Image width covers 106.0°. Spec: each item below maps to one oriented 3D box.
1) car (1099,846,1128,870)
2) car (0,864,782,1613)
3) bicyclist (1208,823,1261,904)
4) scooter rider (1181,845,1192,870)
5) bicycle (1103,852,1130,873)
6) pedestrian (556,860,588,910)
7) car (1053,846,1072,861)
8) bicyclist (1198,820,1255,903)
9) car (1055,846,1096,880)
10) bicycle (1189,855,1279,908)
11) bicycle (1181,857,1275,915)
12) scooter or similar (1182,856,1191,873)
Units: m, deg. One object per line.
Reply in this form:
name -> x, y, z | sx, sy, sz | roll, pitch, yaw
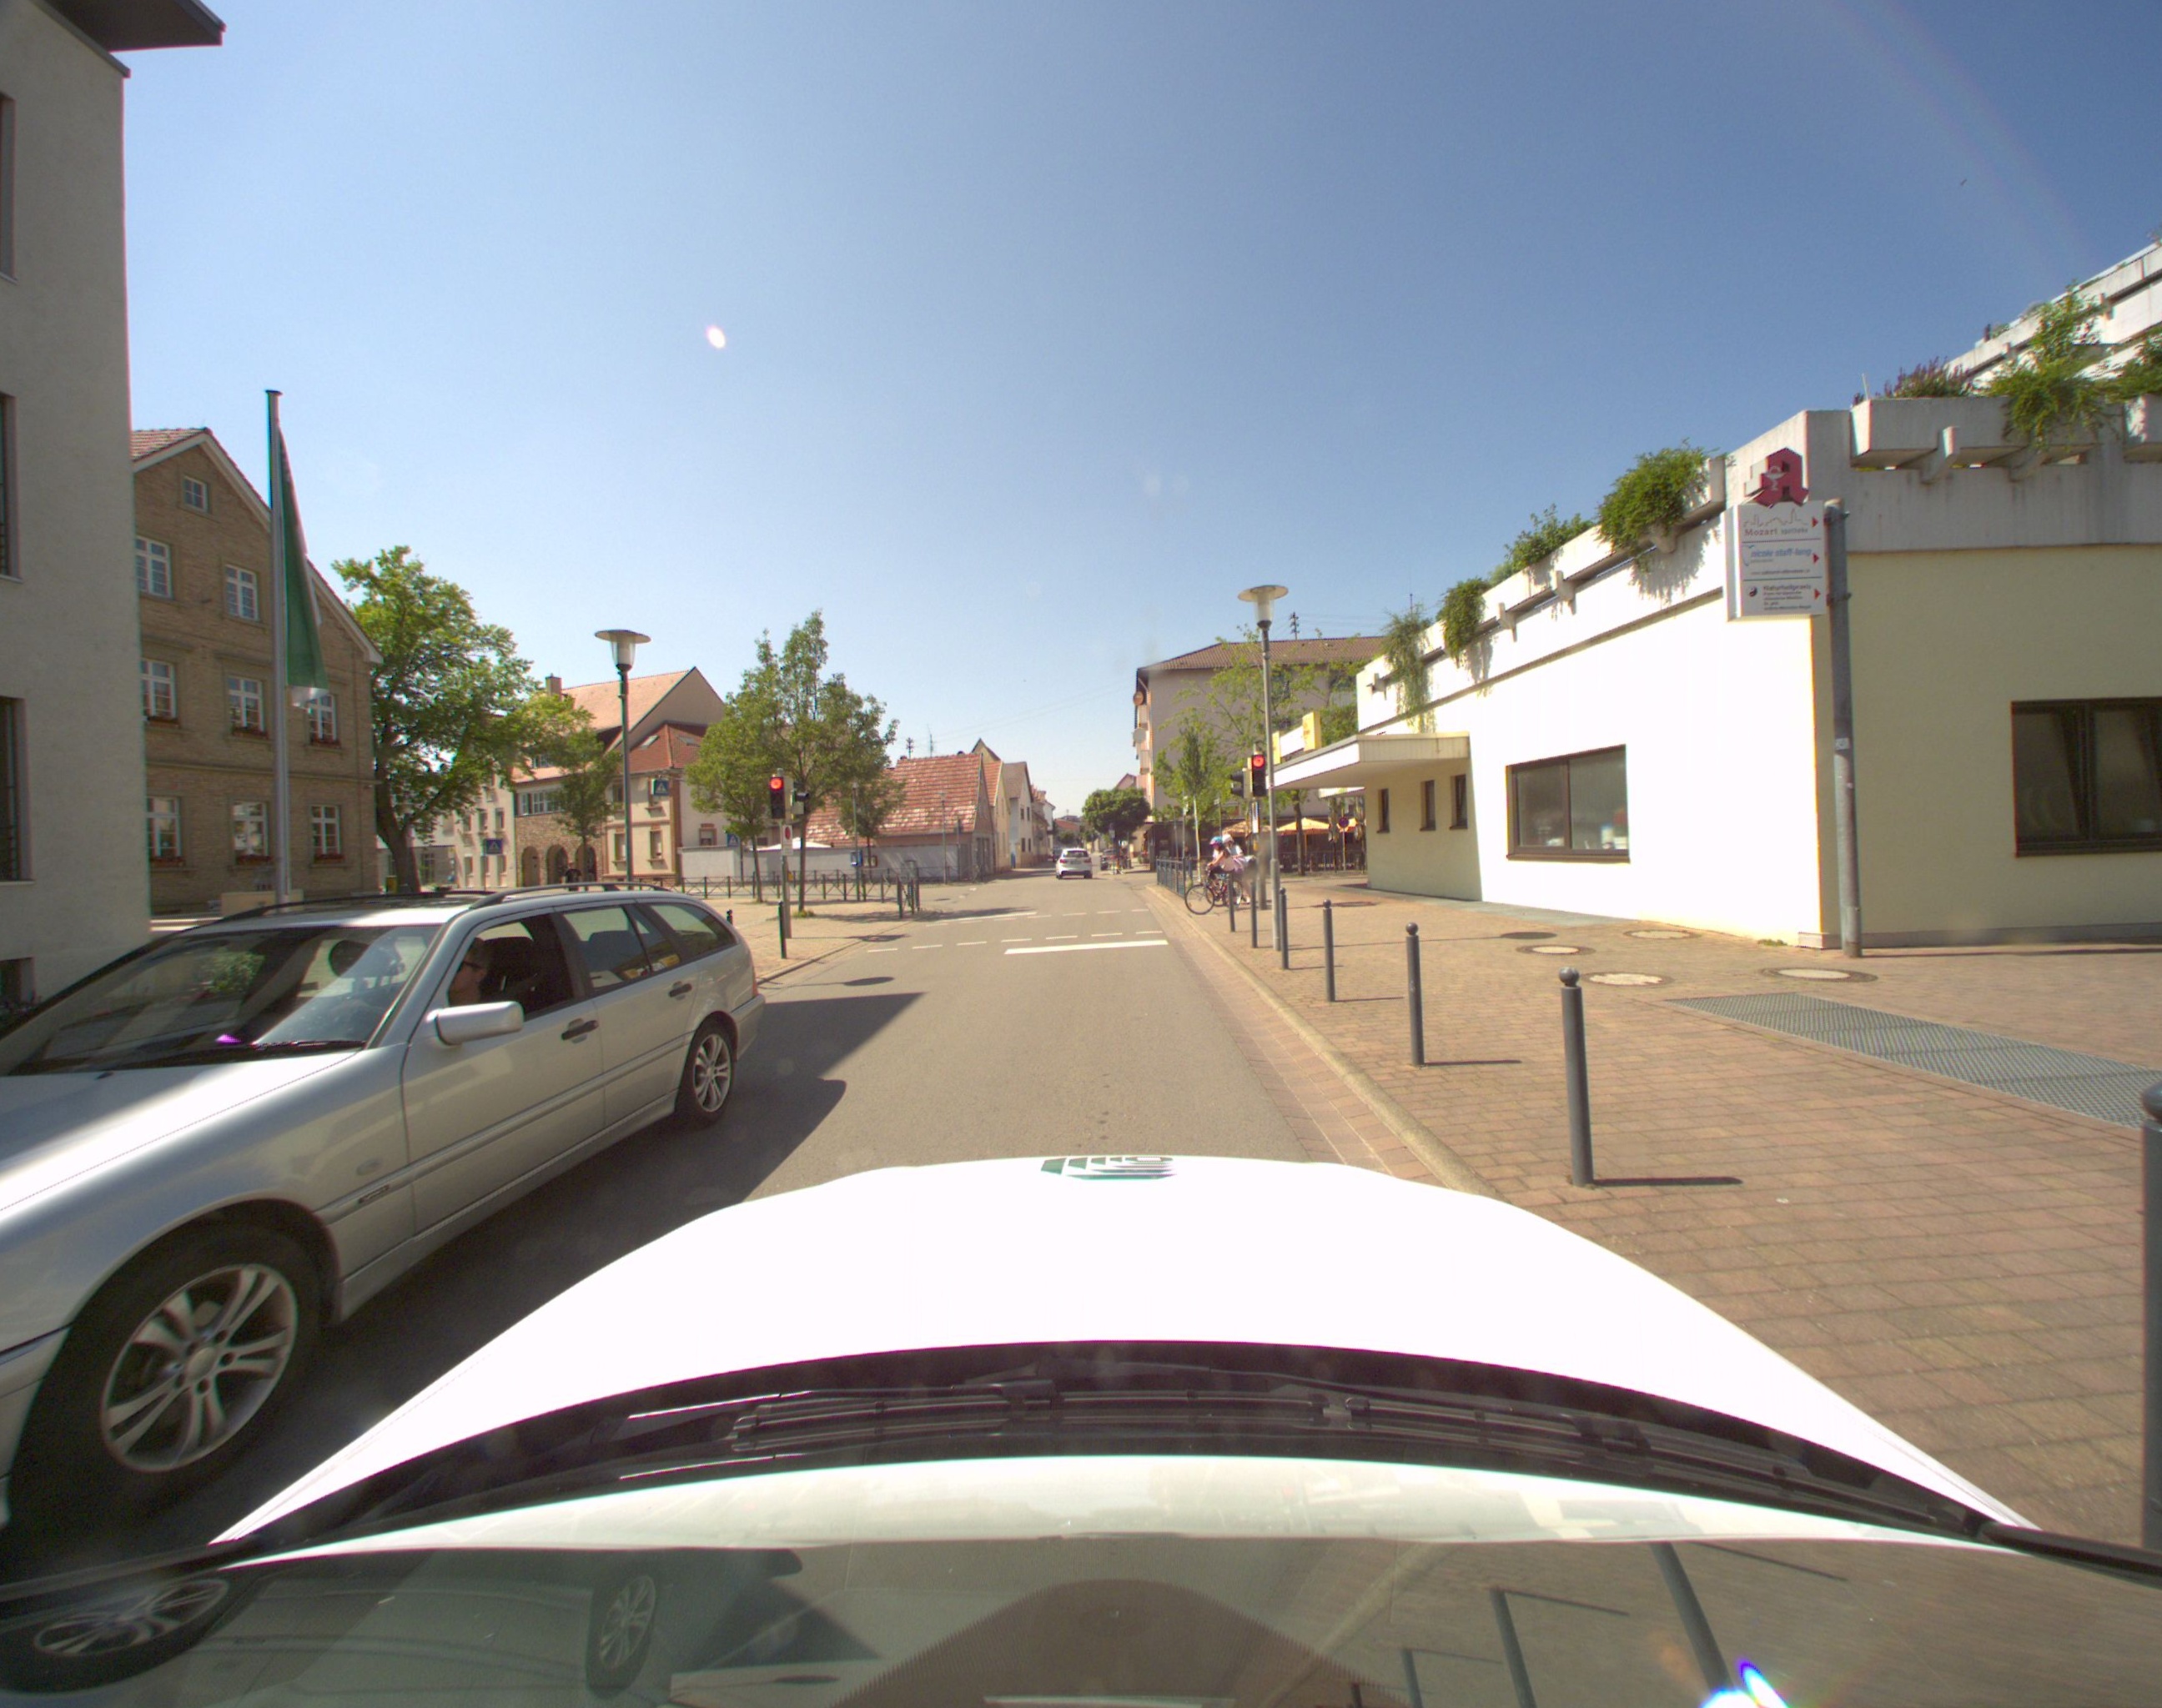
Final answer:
car -> 2.306, 0.267, 56.832 | 1.797, 1.501, 4.005 | -2, 1, 4
car -> -3.080, 0.836, 3.477 | 1.874, 1.464, 4.435 | -4, -1, 0
bicyclist -> 3.292, 0.207, 17.485 | 0.765, 1.664, 0.664 | -5, 1, -33
scooter rider -> 5.586, 0.175, 43.175 | 0.512, 1.286, 0.419 | -2, 0, 11
bicycle -> 2.089, 0.532, 48.056 | 0.530, 1.193, 1.655 | -2, 0, -42
pedestrian -> -17.153, 1.029, 27.445 | 0.819, 1.654, 0.841 | -1, -1, -39
car -> -2.012, -0.057, 88.093 | 1.706, 1.517, 3.790 | -2, 0, 4
bicyclist -> 2.906, 0.145, 16.231 | 0.765, 1.581, 0.663 | -5, 1, -36
car -> -0.334, 0.442, 43.346 | 1.831, 1.652, 3.993 | -3, 0, -5
bicycle -> 3.303, 0.572, 17.486 | 1.904, 0.958, 0.669 | -5, 1, -34
bicycle -> 2.956, 0.608, 16.238 | 1.905, 0.958, 0.668 | -5, 1, -36
scooter or similar -> 5.608, 0.539, 43.185 | 0.376, 0.873, 0.893 | -2, 0, 13
